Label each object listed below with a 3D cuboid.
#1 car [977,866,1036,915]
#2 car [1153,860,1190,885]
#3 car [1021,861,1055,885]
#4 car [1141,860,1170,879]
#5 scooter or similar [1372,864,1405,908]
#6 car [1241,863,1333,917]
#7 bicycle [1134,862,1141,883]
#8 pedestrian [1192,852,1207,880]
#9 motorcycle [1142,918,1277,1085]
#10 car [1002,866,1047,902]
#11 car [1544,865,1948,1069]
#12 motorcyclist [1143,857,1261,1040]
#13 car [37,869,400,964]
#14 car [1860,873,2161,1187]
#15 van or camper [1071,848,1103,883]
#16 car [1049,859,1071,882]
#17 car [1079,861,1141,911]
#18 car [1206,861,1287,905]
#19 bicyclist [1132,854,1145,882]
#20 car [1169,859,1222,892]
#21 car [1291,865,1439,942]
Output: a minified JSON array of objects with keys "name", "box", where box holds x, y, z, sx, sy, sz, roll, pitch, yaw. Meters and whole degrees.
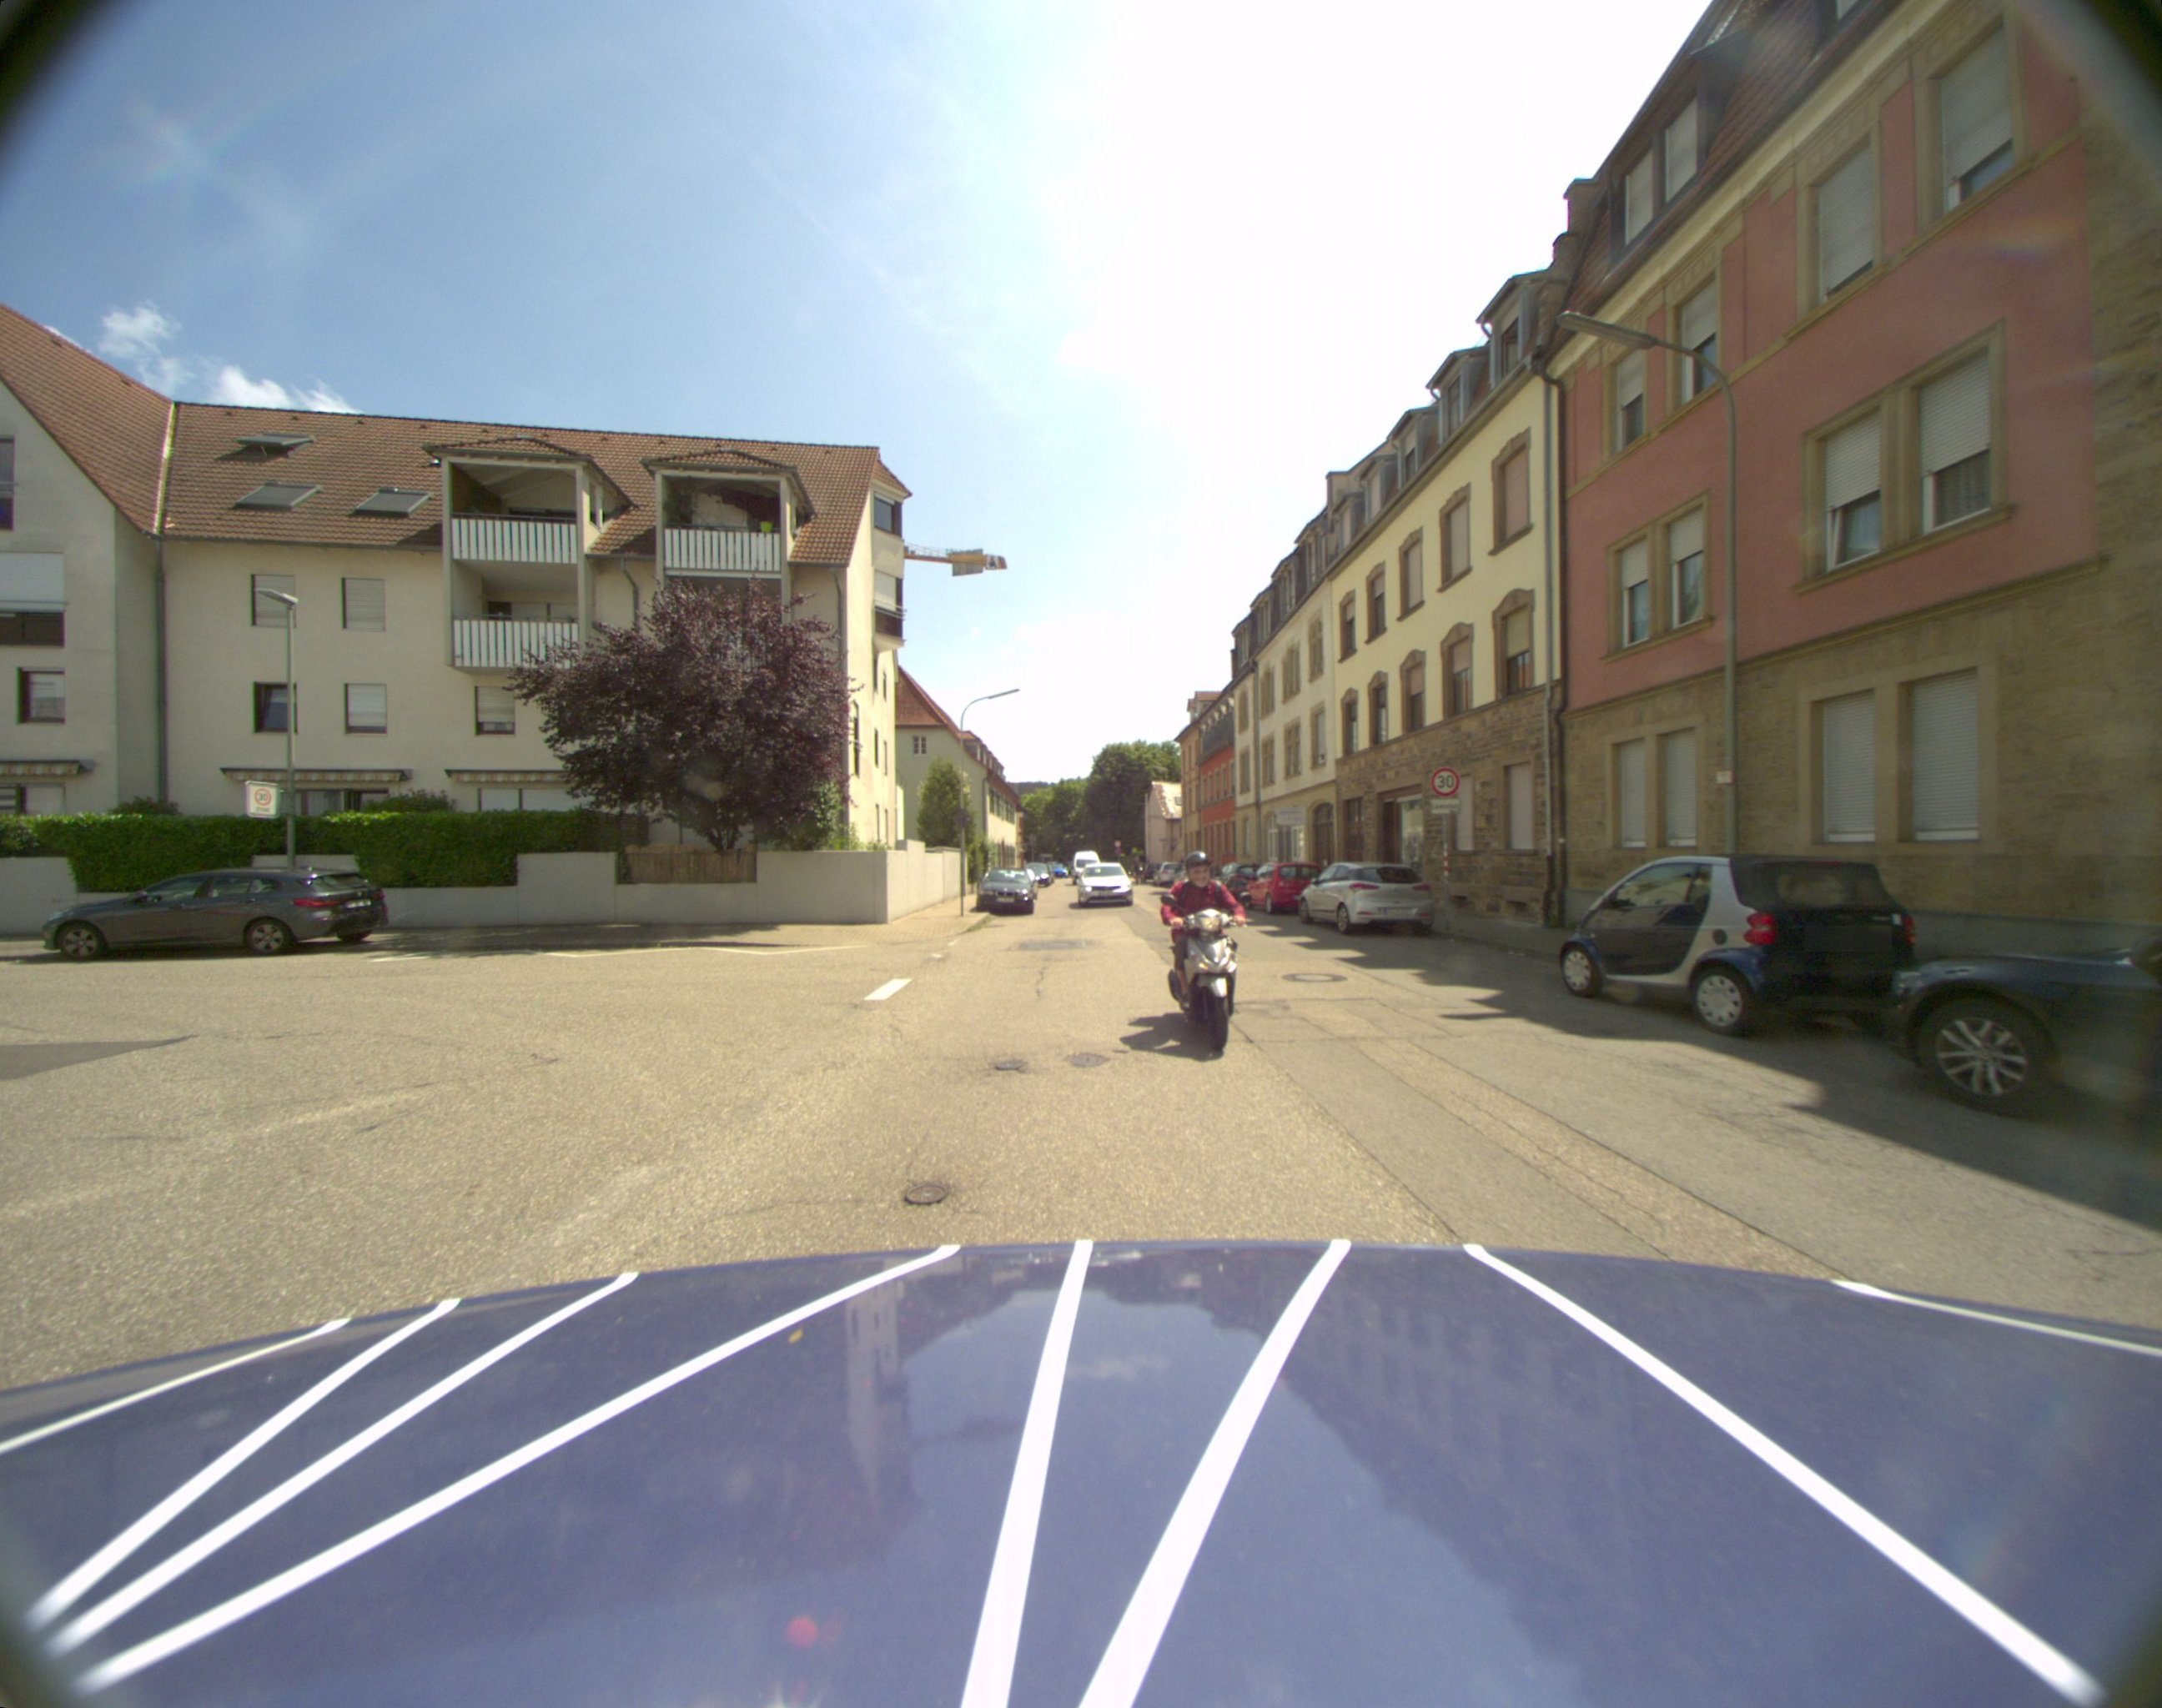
[{"name":"car","box":[-2.293,1.091,24.178,1.661,1.368,4.238,-1,0,-3]},{"name":"car","box":[5.454,1.098,46.224,1.715,1.451,3.853,1,0,-2]},{"name":"car","box":[-2.737,1.196,49.370,1.851,1.506,4.000,-1,0,1]},{"name":"car","box":[5.668,1.182,58.527,1.732,1.433,3.856,-1,0,-2]},{"name":"scooter or similar","box":[8.698,0.884,21.536,0.375,1.213,1.319,0,0,-1]},{"name":"car","box":[5.932,0.989,22.255,1.603,1.433,3.494,0,0,-2]},{"name":"bicycle","box":[3.544,1.159,47.688,0.229,1.268,1.882,2,0,-2]},{"name":"pedestrian","box":[7.732,0.781,49.583,0.770,1.761,0.763,-3,0,-2]},{"name":"motorcycle","box":[1.026,1.168,6.585,0.760,1.049,1.991,-2,0,-1]},{"name":"car","box":[-2.264,1.189,31.337,1.589,1.345,3.822,1,0,0]},{"name":"car","box":[5.967,0.893,7.219,1.440,1.514,2.695,0,0,-2]},{"name":"motorcyclist","box":[1.011,0.758,6.587,0.793,1.431,1.020,-2,0,-1]},{"name":"car","box":[-14.735,1.020,13.211,3.999,1.460,1.736,0,1,-7]},{"name":"car","box":[6.076,0.868,2.732,1.787,1.449,4.634,0,0,0]},{"name":"van or camper","box":[0.374,0.799,52.368,1.999,2.273,5.143,-1,0,-2]},{"name":"car","box":[-2.024,1.592,74.700,1.998,2.002,4.000,-3,0,0]},{"name":"car","box":[0.898,1.012,25.909,1.812,1.512,3.999,-2,0,-2]},{"name":"car","box":[5.889,1.002,27.548,1.877,1.430,4.217,-1,0,-2]},{"name":"bicyclist","box":[3.600,0.885,47.785,0.643,1.752,1.167,1,0,-2]},{"name":"car","box":[5.590,1.007,37.498,1.883,1.501,4.381,-1,0,-1]},{"name":"car","box":[5.977,0.972,16.511,1.639,1.423,4.018,1,0,-1]}]
